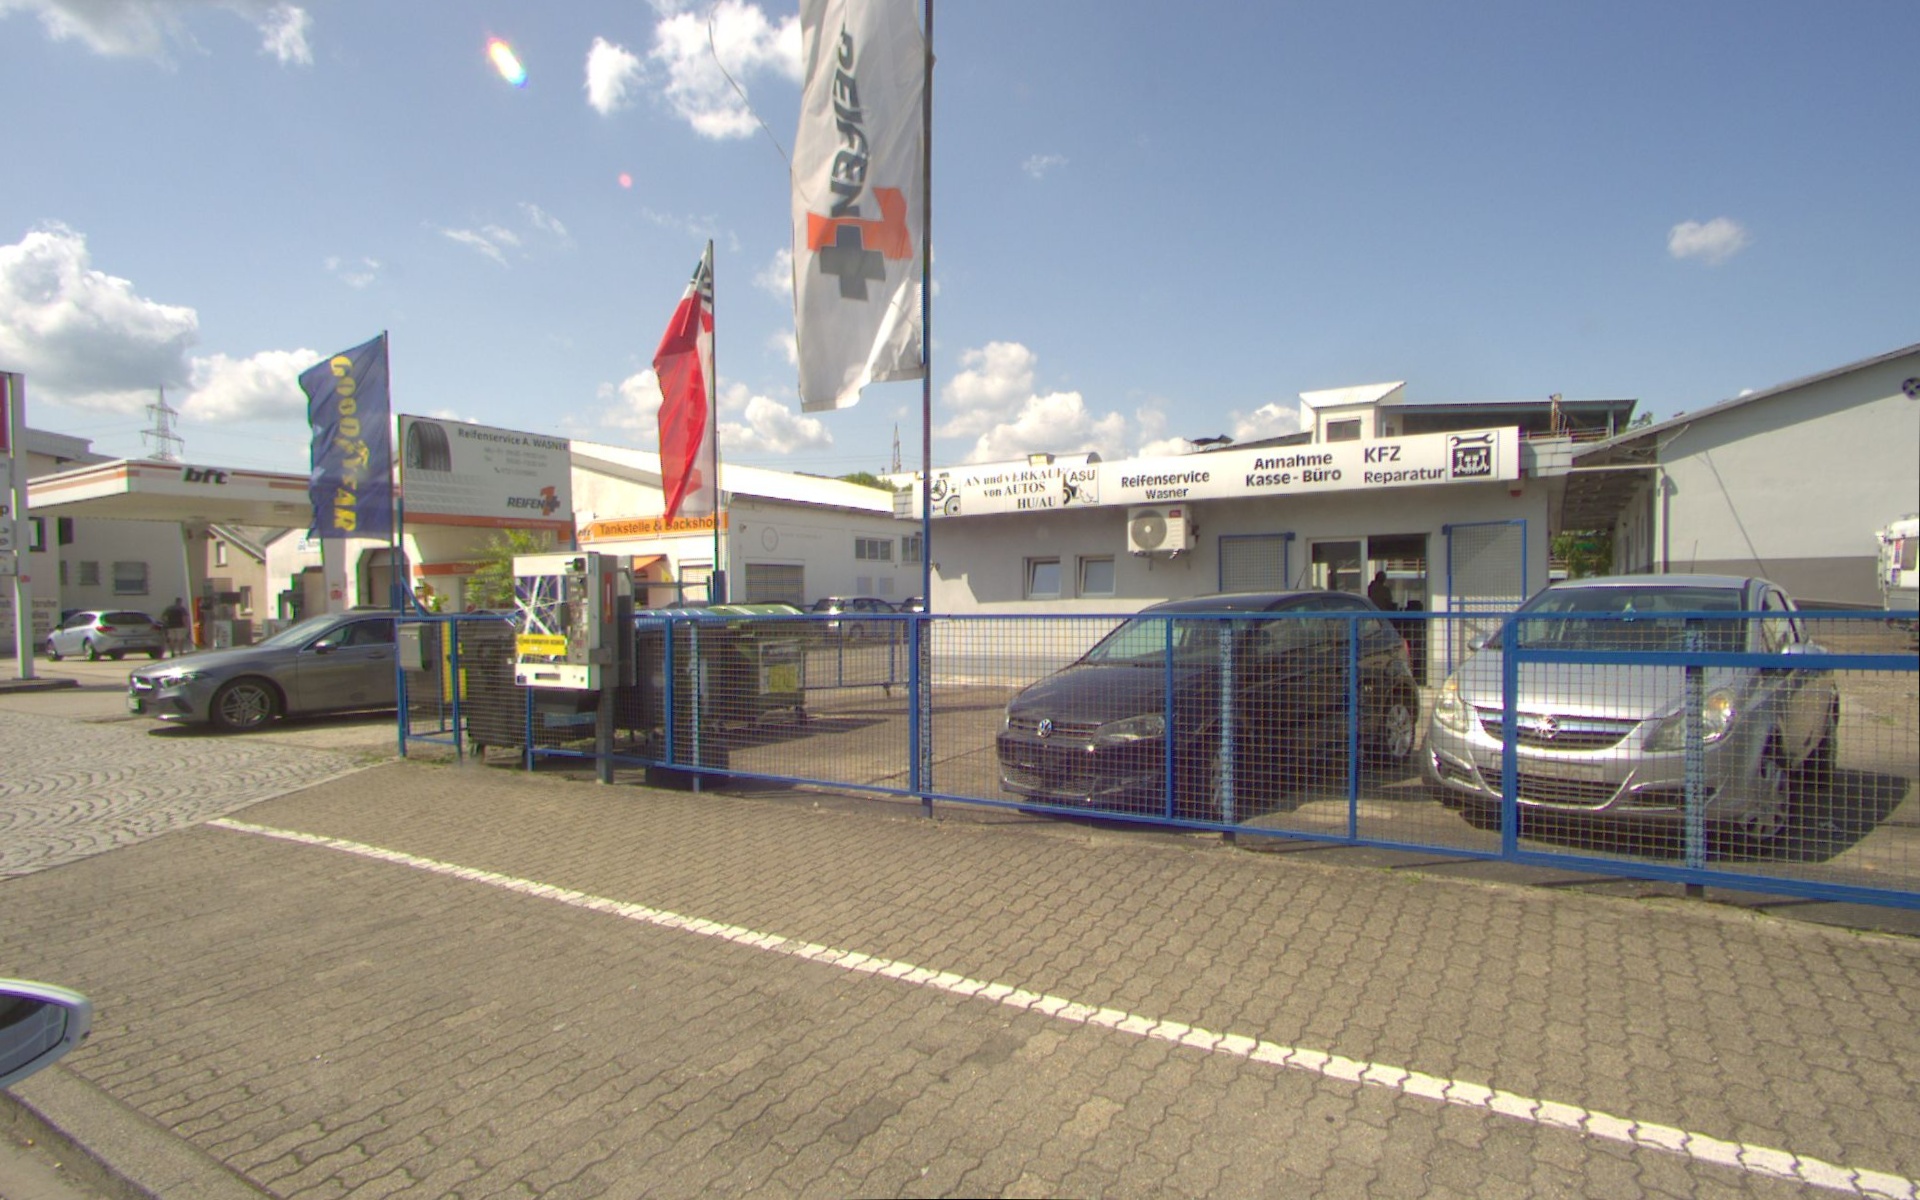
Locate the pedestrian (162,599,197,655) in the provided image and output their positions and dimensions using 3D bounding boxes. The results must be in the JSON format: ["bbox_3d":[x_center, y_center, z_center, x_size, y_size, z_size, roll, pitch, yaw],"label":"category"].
[{"bbox_3d":[-23.782,0.802,30.521,0.698,1.679,0.546,-1,1,-22],"label":"pedestrian"}]

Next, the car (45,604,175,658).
[{"bbox_3d":[-25.742,0.902,30.311,3.776,1.523,1.803,0,0,30],"label":"car"}]

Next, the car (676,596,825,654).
[{"bbox_3d":[-5.724,0.643,27.823,1.564,1.482,4.187,0,0,33],"label":"car"}]

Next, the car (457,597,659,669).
[{"bbox_3d":[-9.171,0.690,23.167,1.564,1.482,4.187,0,0,33],"label":"car"}]

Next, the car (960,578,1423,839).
[{"bbox_3d":[1.887,0.605,7.491,3.655,1.472,1.625,-1,0,-43],"label":"car"}]

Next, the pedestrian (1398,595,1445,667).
[{"bbox_3d":[8.040,0.536,17.441,0.654,1.225,0.563,0,1,34],"label":"pedestrian"}]

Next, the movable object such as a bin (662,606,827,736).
[{"bbox_3d":[-2.540,0.785,11.906,1.318,1.414,1.400,0,1,31],"label":"movable object such as a bin"}]

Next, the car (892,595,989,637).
[{"bbox_3d":[-0.645,0.536,35.739,1.564,1.385,3.860,0,0,33],"label":"car"}]

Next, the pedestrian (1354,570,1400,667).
[{"bbox_3d":[7.346,0.322,17.648,0.654,1.671,0.563,0,1,34],"label":"pedestrian"}]

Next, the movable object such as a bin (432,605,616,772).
[{"bbox_3d":[-4.167,0.789,9.611,1.225,1.455,1.106,0,1,31],"label":"movable object such as a bin"}]

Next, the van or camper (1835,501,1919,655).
[{"bbox_3d":[21.008,-0.450,19.531,5.571,3.005,2.264,0,1,31],"label":"van or camper"}]

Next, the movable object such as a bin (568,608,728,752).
[{"bbox_3d":[-3.334,0.805,10.741,1.225,1.415,1.106,0,1,31],"label":"movable object such as a bin"}]

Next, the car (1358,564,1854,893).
[{"bbox_3d":[4.265,0.564,6.383,3.729,1.472,1.757,-1,0,-42],"label":"car"}]

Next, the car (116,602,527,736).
[{"bbox_3d":[-8.168,0.768,13.164,1.654,1.434,4.253,0,0,40],"label":"car"}]

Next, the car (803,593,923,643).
[{"bbox_3d":[-3.020,0.529,32.054,1.564,1.482,4.187,0,0,33],"label":"car"}]

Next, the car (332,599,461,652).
[{"bbox_3d":[-17.315,0.749,30.728,3.777,1.523,1.803,0,0,31],"label":"car"}]
